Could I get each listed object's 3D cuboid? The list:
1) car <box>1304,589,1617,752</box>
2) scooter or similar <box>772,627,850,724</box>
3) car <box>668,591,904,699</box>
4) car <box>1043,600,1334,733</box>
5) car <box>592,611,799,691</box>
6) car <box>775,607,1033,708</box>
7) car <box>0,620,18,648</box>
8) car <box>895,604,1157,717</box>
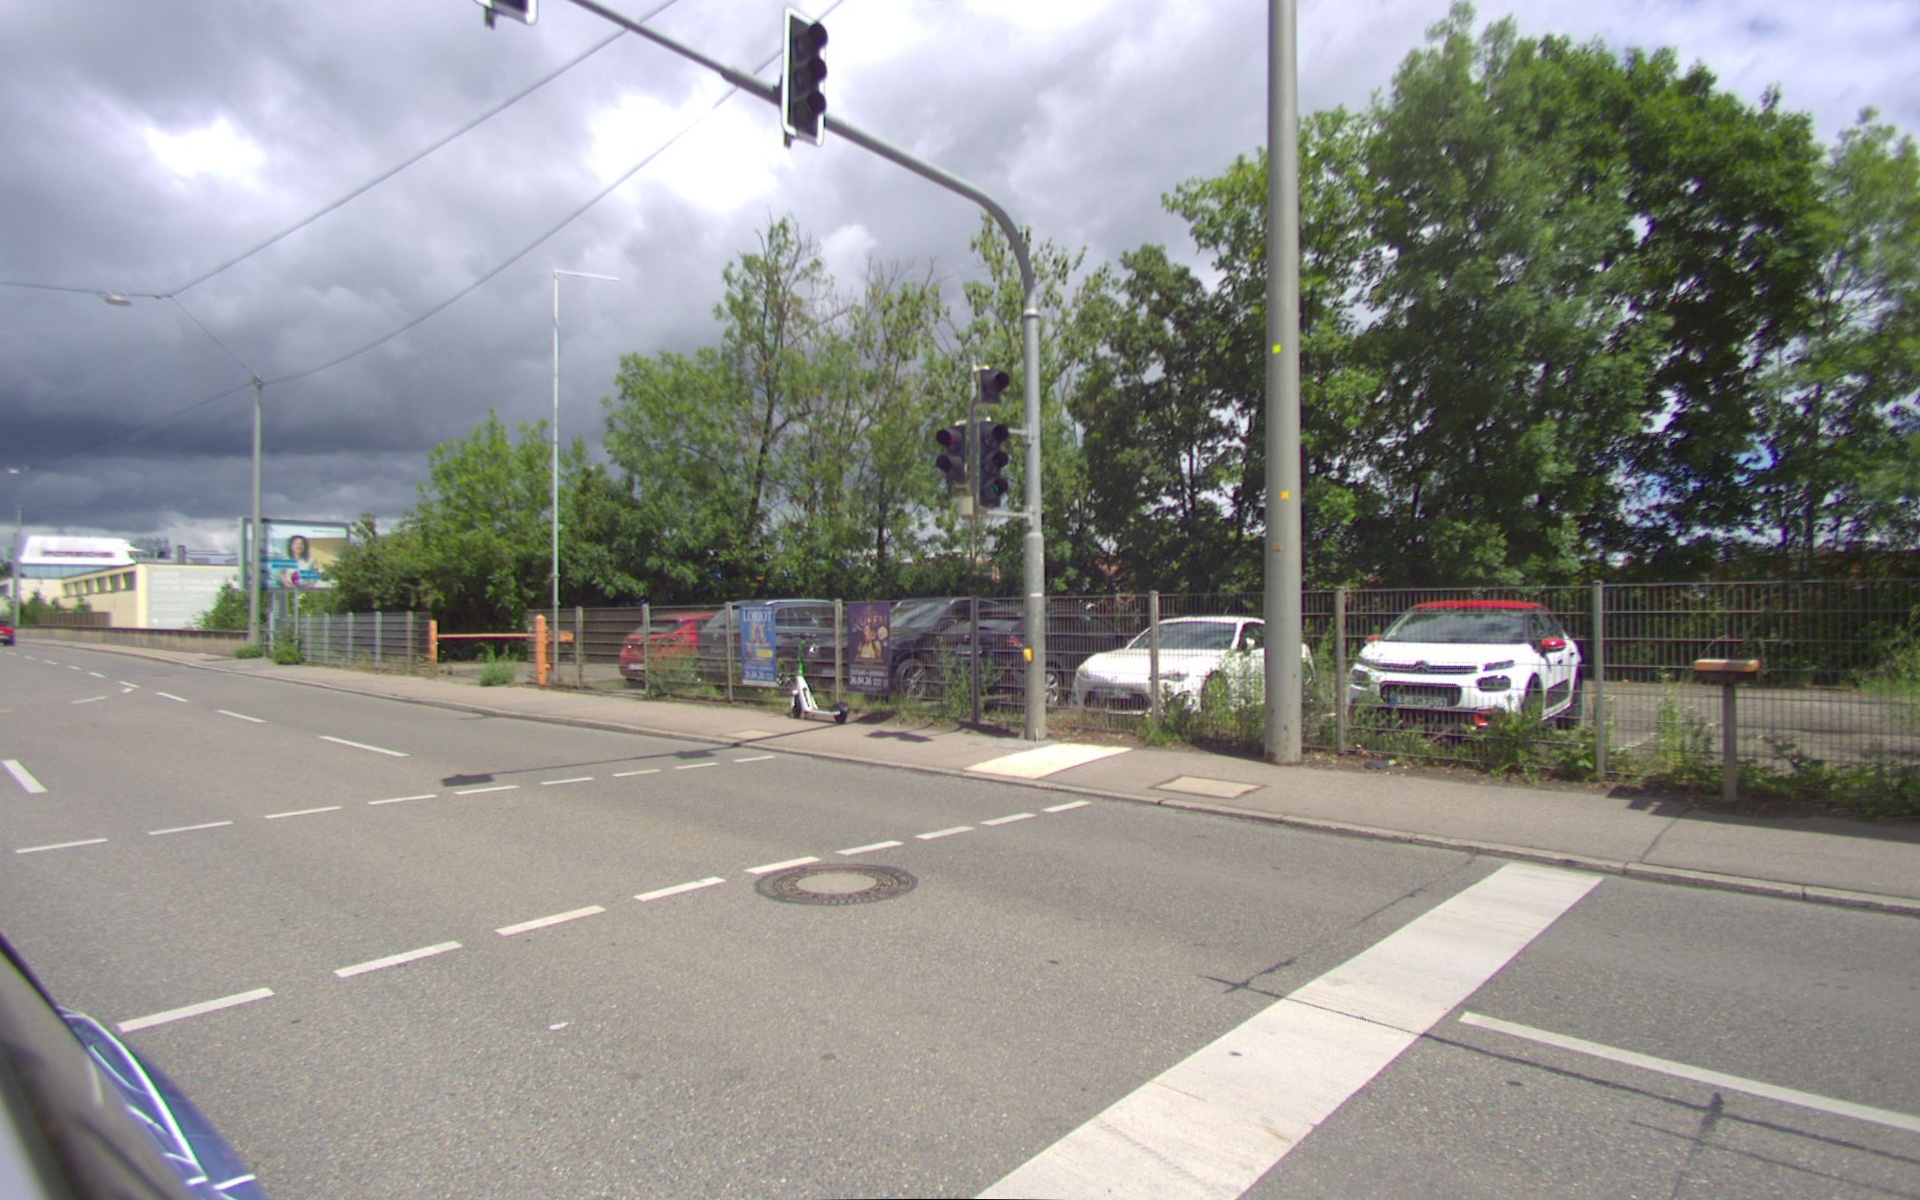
[{"bbox_3d":[5.670,0.656,11.190,2.024,1.430,4.264,-1,-1,42],"label":"car"},{"bbox_3d":[-1.996,0.982,13.497,0.419,1.220,1.127,-1,0,-45],"label":"scooter or similar"},{"bbox_3d":[-3.087,0.775,18.644,1.996,1.748,4.065,-1,-2,36],"label":"car"},{"bbox_3d":[3.063,0.750,13.024,1.916,1.430,4.059,-1,-1,42],"label":"car"},{"bbox_3d":[-5.220,0.959,20.418,1.896,1.430,3.822,-1,-1,32],"label":"car"},{"bbox_3d":[-0.804,0.853,16.548,1.998,1.430,4.061,-1,-1,40],"label":"car"},{"bbox_3d":[-57.135,1.993,59.663,4.151,1.611,1.910,-2,-3,42],"label":"car"},{"bbox_3d":[1.111,0.810,15.085,1.997,1.430,4.064,-1,-1,38],"label":"car"}]
